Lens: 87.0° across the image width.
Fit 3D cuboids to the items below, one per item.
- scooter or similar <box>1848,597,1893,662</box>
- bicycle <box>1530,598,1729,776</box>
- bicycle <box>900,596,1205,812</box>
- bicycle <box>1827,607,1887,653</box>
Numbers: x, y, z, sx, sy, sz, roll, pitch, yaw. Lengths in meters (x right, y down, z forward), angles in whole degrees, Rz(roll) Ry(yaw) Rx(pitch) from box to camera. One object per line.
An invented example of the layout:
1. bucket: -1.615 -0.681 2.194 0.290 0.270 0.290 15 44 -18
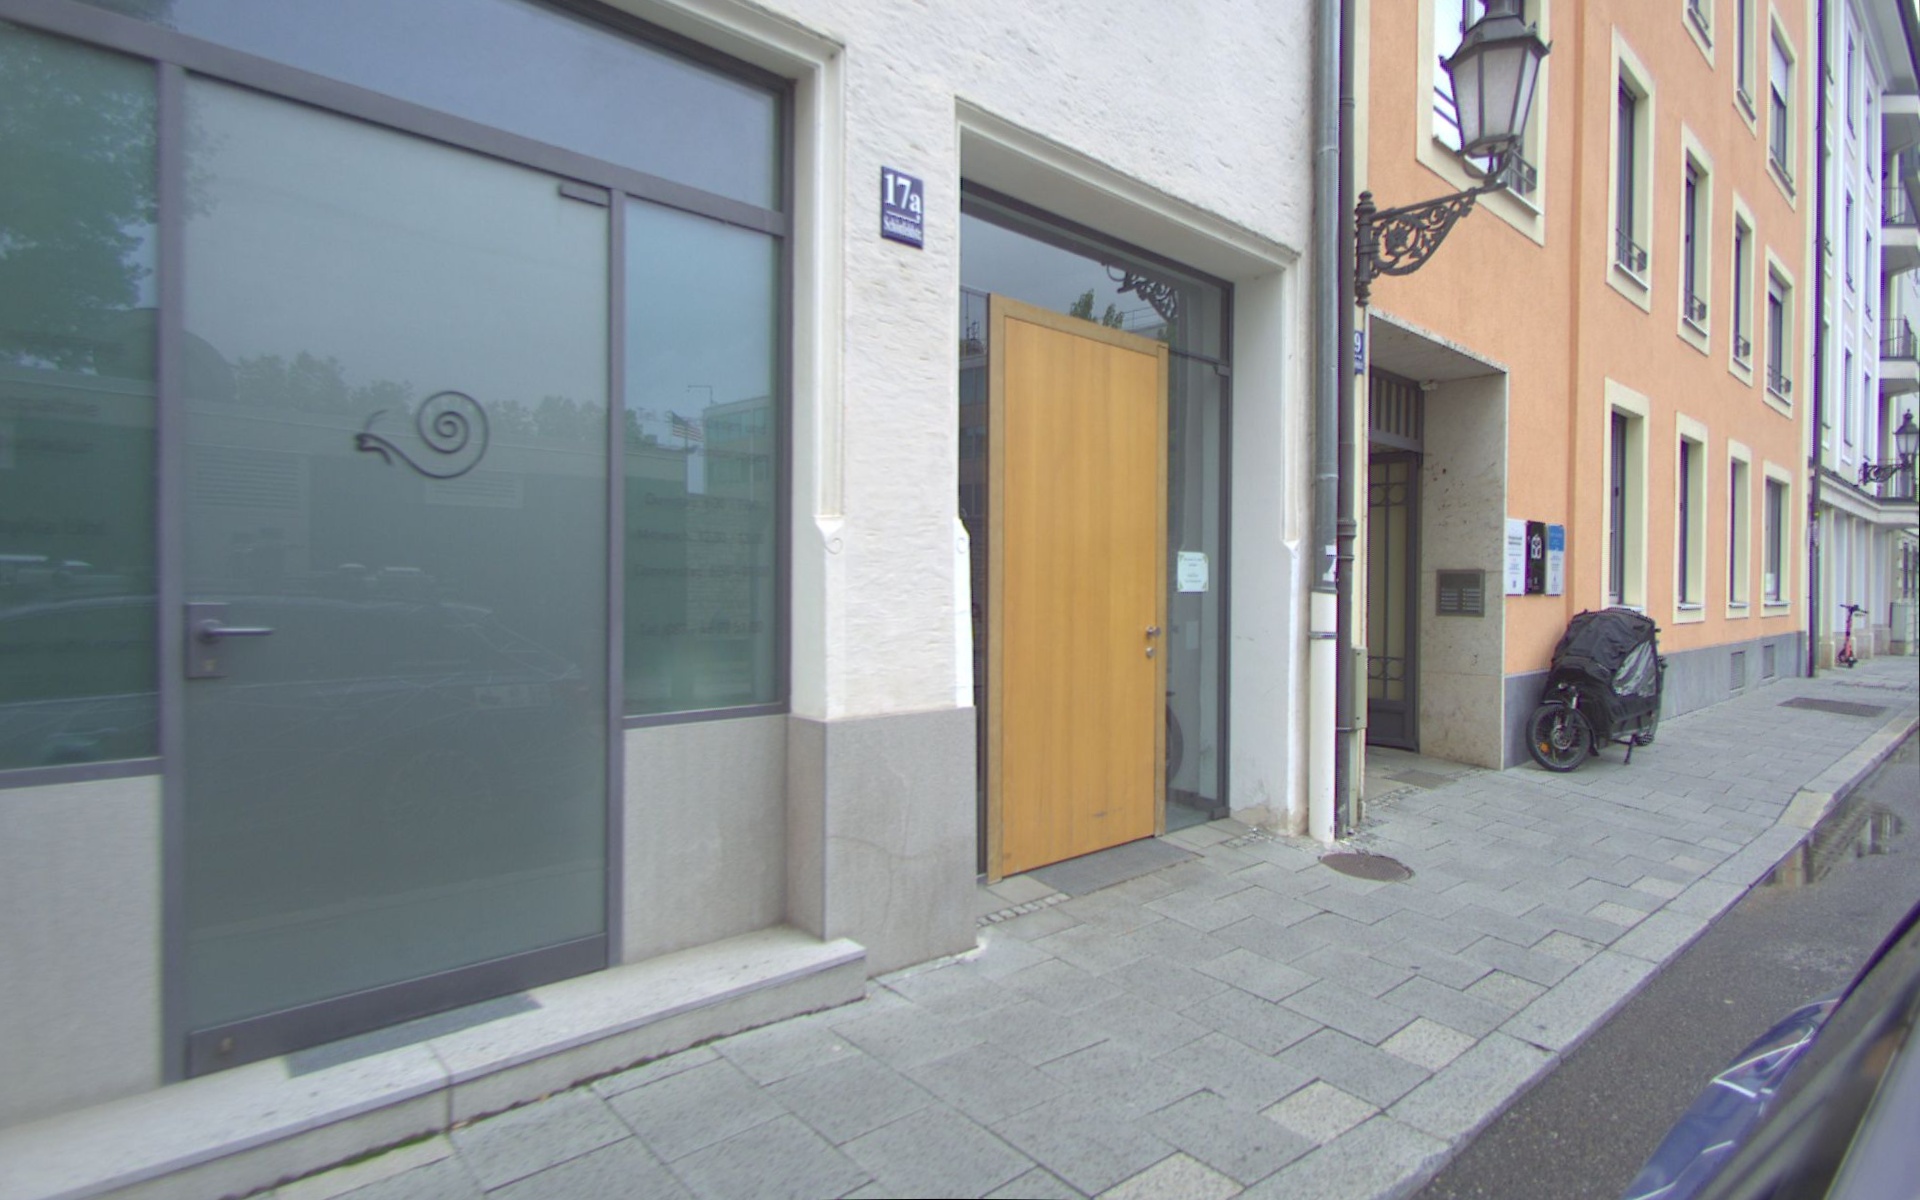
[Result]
1. scooter or similar: 18.826 0.589 20.946 0.463 1.274 1.261 3 3 34
2. bicycle: 5.611 0.645 8.410 2.340 1.255 0.681 1 4 -41
3. bicycle: 0.545 0.573 6.445 1.767 1.043 0.748 6 4 39
4. bicycle: 20.726 0.706 23.365 2.037 1.006 0.465 2 0 -32
